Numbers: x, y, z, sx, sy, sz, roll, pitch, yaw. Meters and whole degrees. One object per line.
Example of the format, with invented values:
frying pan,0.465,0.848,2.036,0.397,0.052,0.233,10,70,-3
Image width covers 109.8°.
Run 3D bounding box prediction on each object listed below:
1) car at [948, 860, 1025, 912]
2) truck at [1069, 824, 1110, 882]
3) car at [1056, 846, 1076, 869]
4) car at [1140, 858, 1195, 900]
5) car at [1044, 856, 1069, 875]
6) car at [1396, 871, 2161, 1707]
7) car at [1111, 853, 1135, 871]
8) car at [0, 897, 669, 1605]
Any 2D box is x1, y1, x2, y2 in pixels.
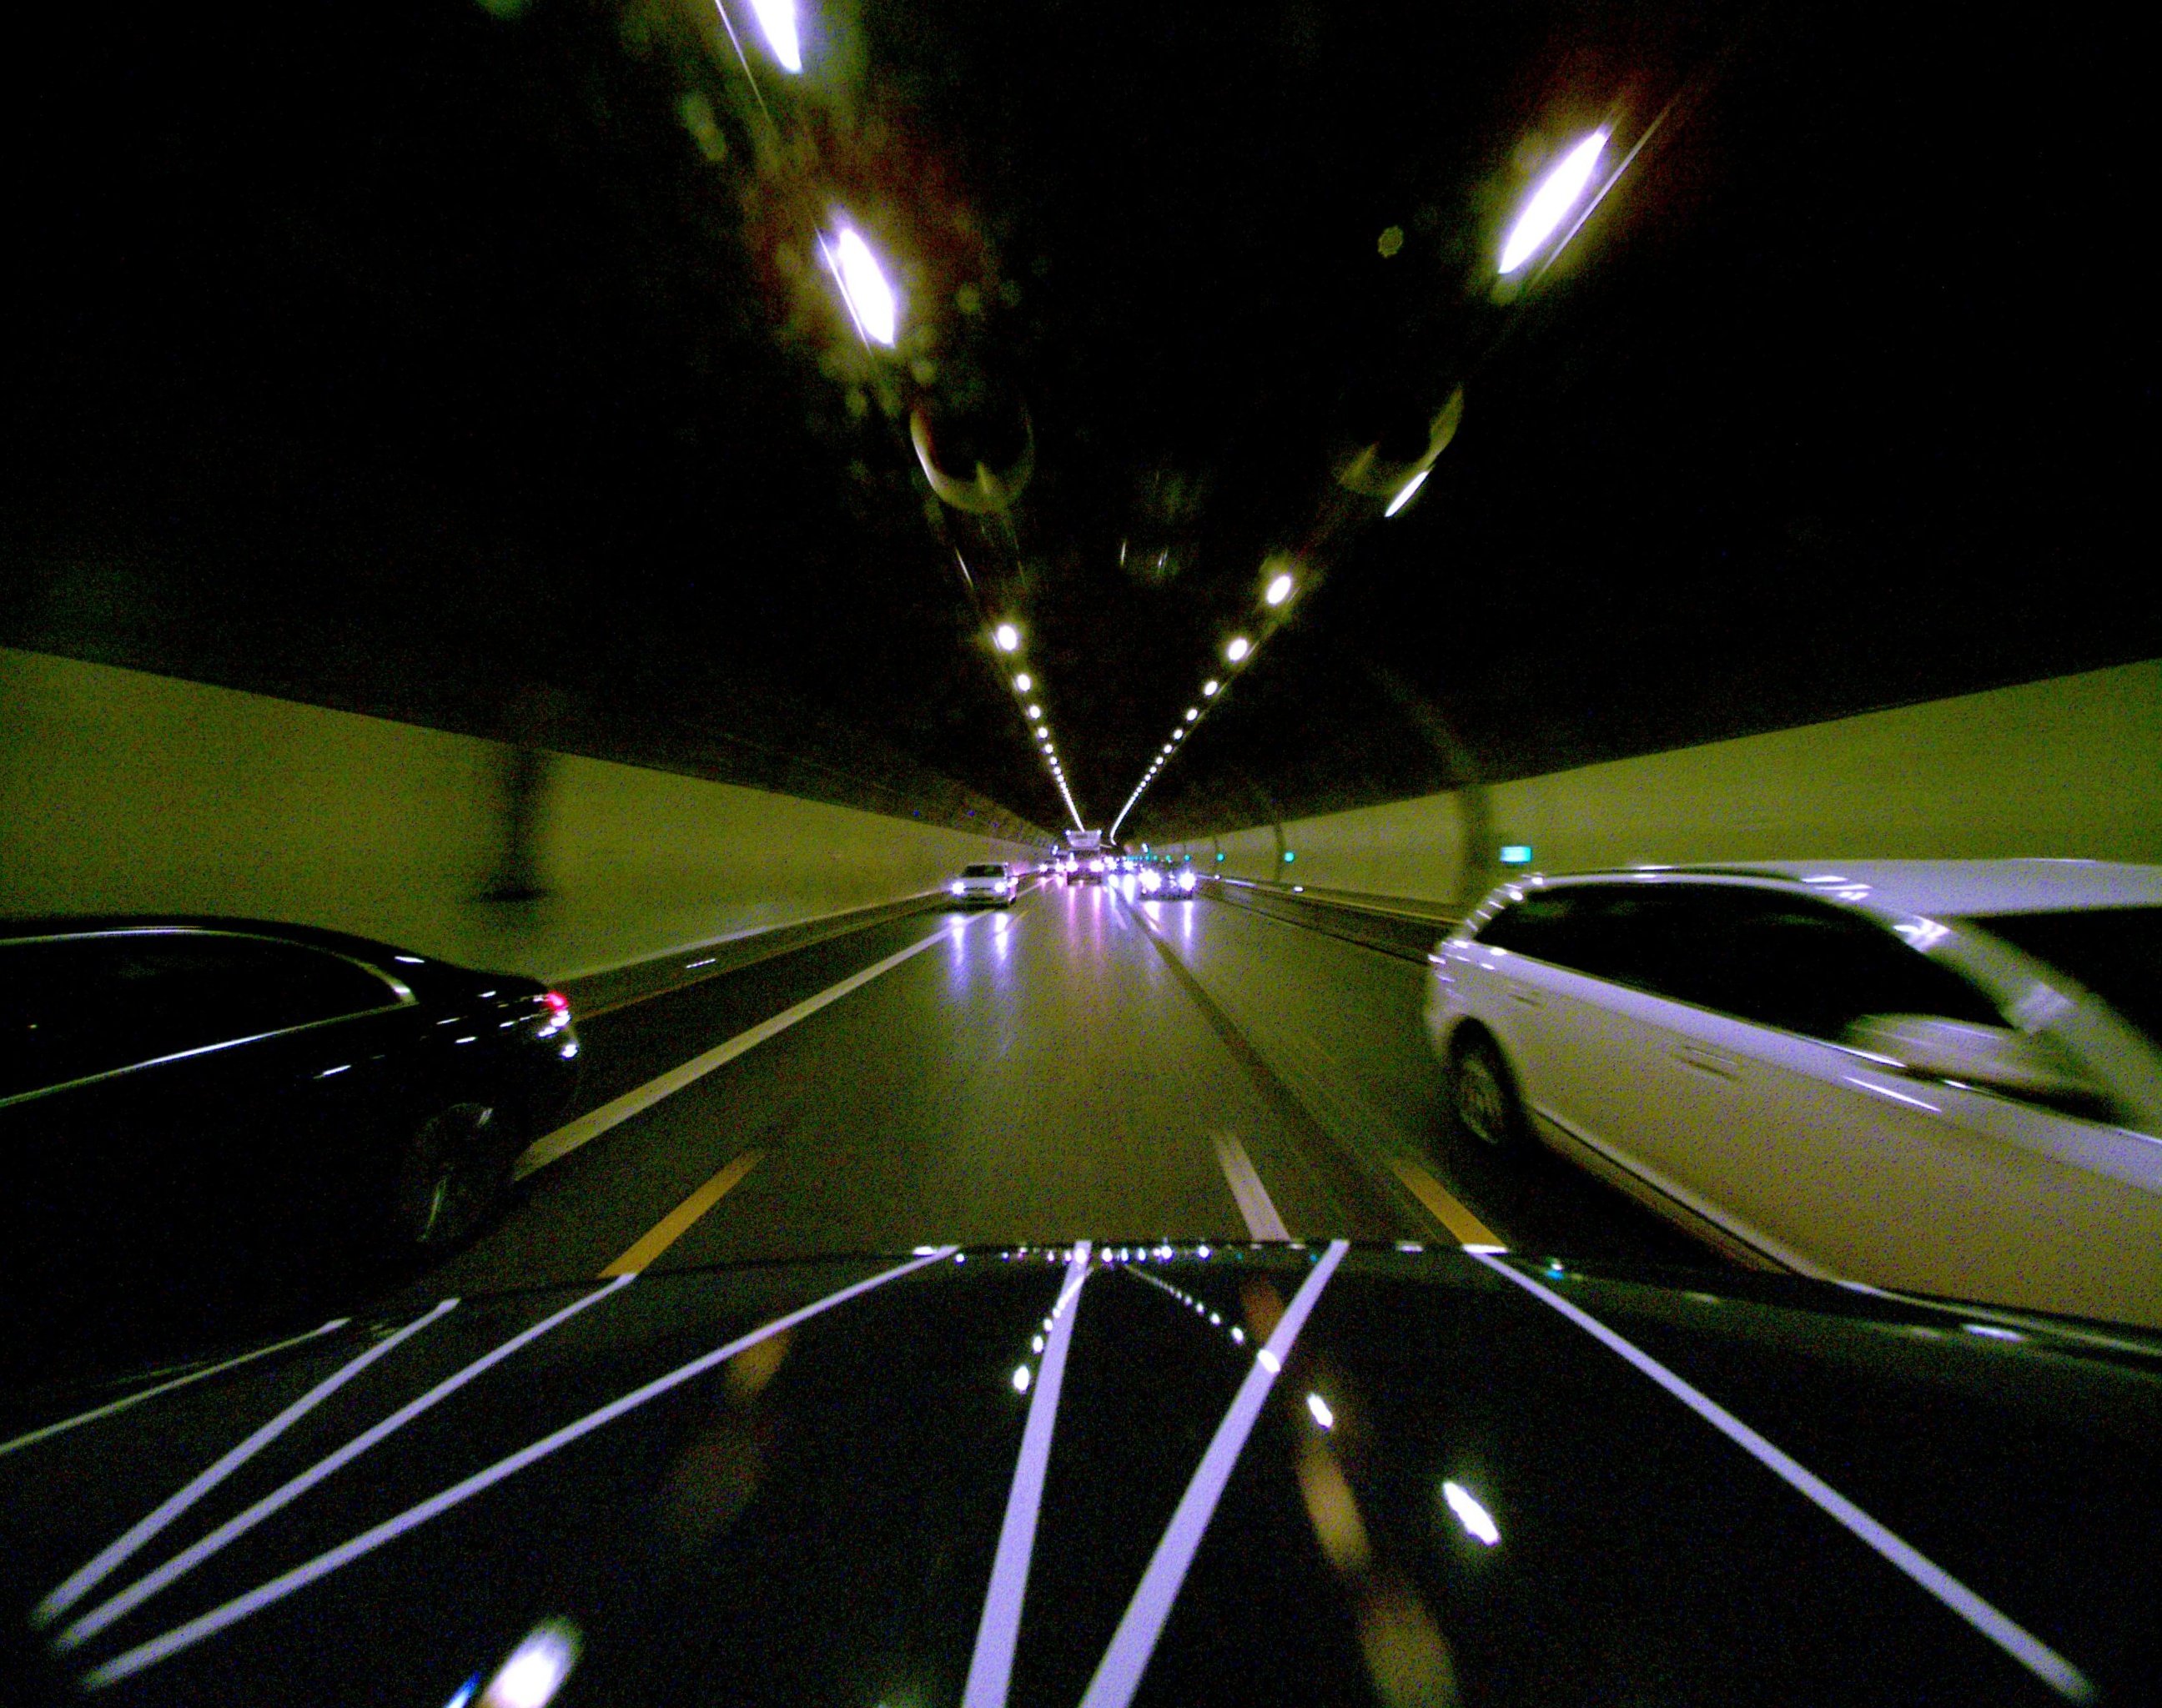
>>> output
car,-3.003,0.986,24.980,1.801,1.452,4.035,-2,0,3
truck,0.544,-0.065,47.111,2.262,3.238,7.383,-2,0,1
car,-1.880,0.401,96.041,2.124,2.629,6.229,-3,1,1
car,3.137,0.878,28.102,1.657,1.395,3.657,-1,0,1
car,-2.127,1.010,67.667,1.958,1.527,4.758,-3,1,1
car,2.820,0.842,2.053,1.908,1.476,4.944,-1,0,1
car,3.978,0.724,72.051,1.958,1.527,4.758,-5,1,1
car,-3.482,1.041,1.994,1.930,1.464,4.954,-3,0,2
